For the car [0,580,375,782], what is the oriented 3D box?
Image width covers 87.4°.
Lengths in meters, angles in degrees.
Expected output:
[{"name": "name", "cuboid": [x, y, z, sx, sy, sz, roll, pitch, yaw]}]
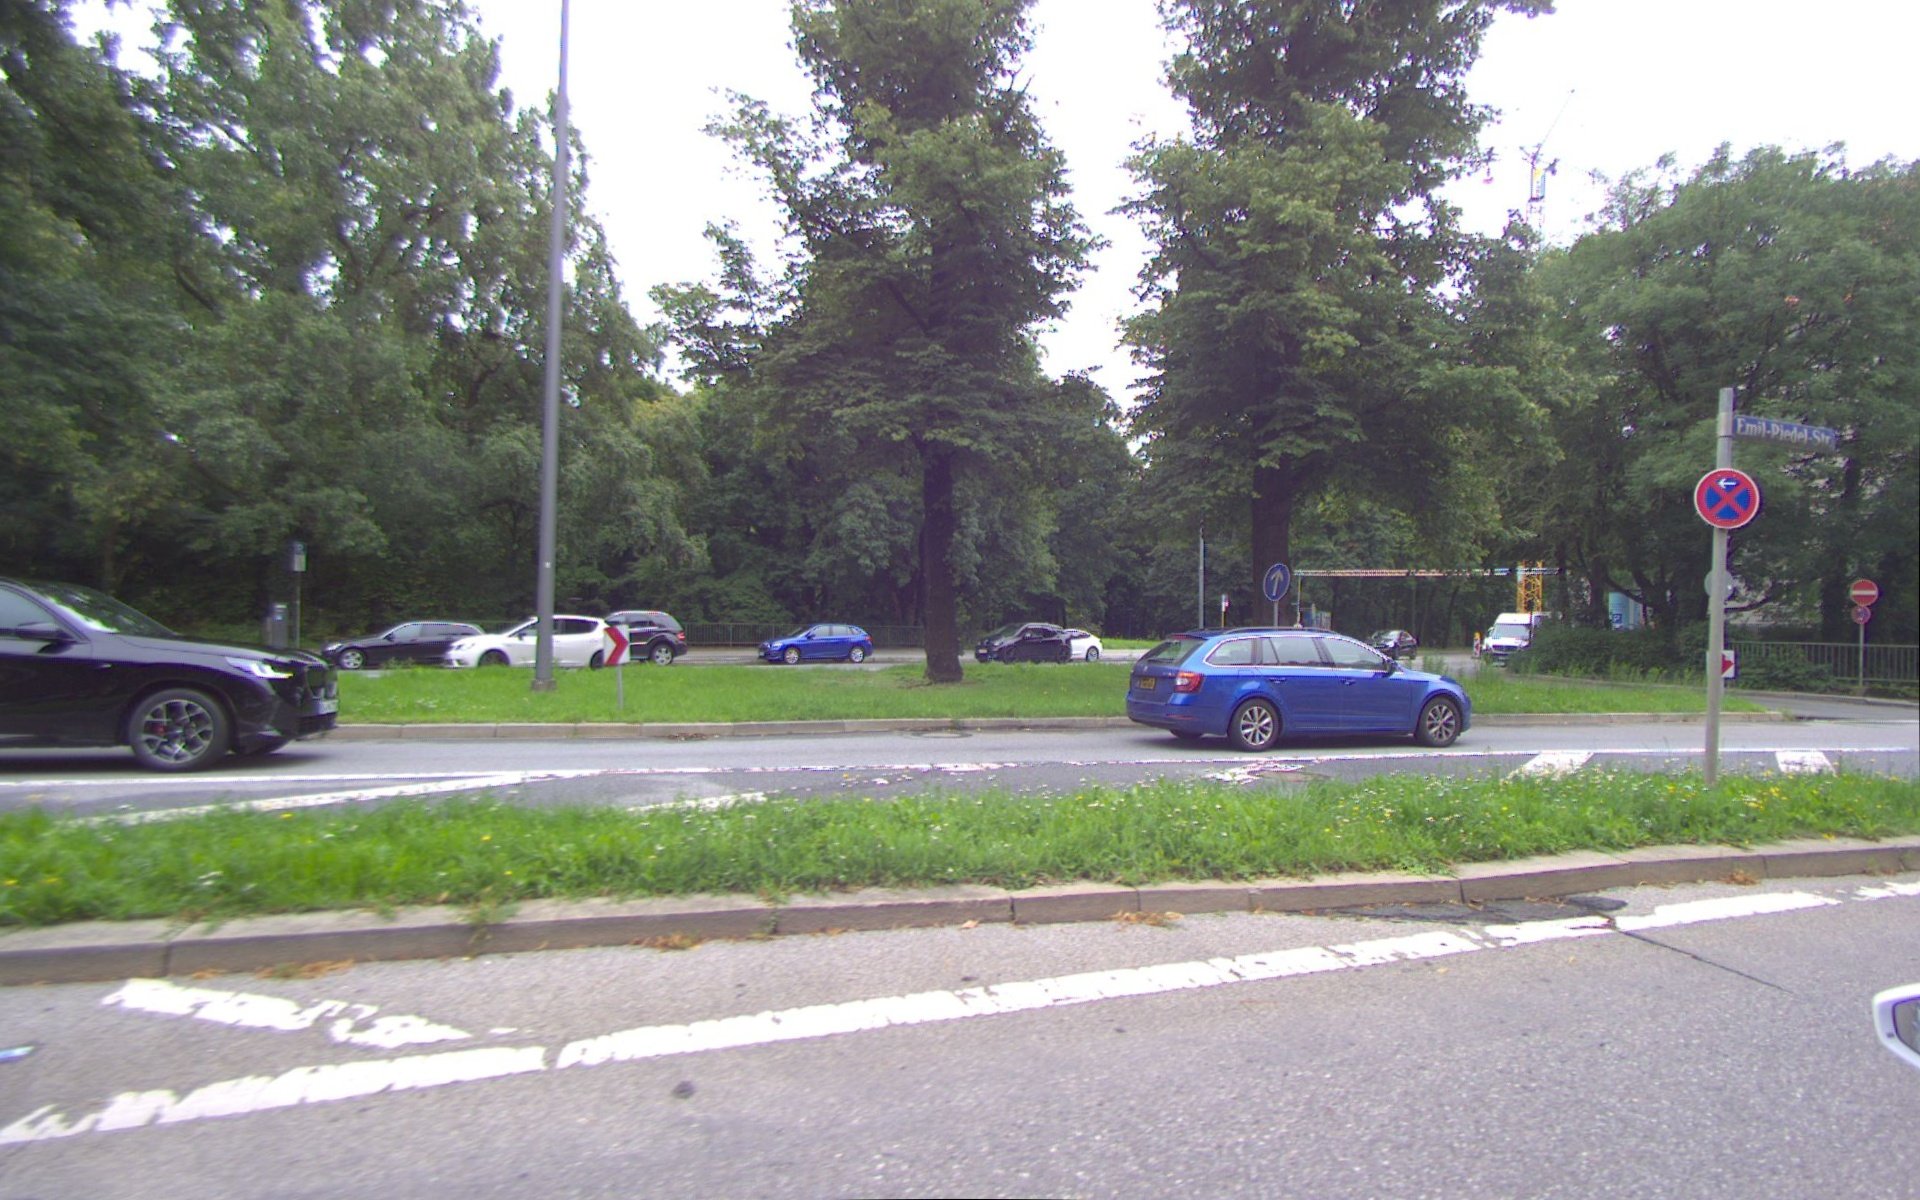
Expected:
[{"name": "car", "cuboid": [-8.139, 0.690, 8.862, 4.755, 1.607, 1.912, 2, -4, -19]}]

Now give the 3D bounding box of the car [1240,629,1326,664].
[{"name": "car", "cuboid": [17.031, 2.439, 52.859, 4.603, 1.741, 1.981, 3, -3, -35]}]

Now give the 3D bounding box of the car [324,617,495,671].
[{"name": "car", "cuboid": [-16.294, 1.325, 29.812, 4.274, 1.465, 1.981, 3, -3, -34]}]

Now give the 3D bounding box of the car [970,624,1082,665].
[{"name": "car", "cuboid": [2.533, 1.704, 38.354, 3.994, 1.465, 1.879, 3, -2, -35]}]

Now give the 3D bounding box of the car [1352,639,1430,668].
[{"name": "car", "cuboid": [23.122, 2.879, 53.817, 4.345, 1.465, 1.879, 3, -2, -35]}]

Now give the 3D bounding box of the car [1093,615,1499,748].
[{"name": "car", "cuboid": [4.253, 1.005, 12.821, 4.661, 1.473, 1.986, 2, -2, -19]}]

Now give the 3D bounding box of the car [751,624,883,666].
[{"name": "car", "cuboid": [-5.251, 1.670, 37.057, 4.380, 1.465, 1.981, 3, -3, -35]}]

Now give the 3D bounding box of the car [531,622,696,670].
[{"name": "car", "cuboid": [-11.268, 1.511, 32.795, 4.720, 1.465, 1.981, 3, -3, -34]}]

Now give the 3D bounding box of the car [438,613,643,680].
[{"name": "car", "cuboid": [-9.979, 1.134, 24.027, 4.196, 1.465, 1.815, 3, -3, -36]}]

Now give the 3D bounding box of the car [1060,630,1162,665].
[{"name": "car", "cuboid": [6.824, 2.126, 45.163, 4.380, 1.465, 1.981, 3, -3, -35]}]

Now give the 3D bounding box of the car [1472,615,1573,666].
[{"name": "car", "cuboid": [27.390, 1.976, 48.860, 5.078, 2.299, 2.286, 3, -2, -35]}]
